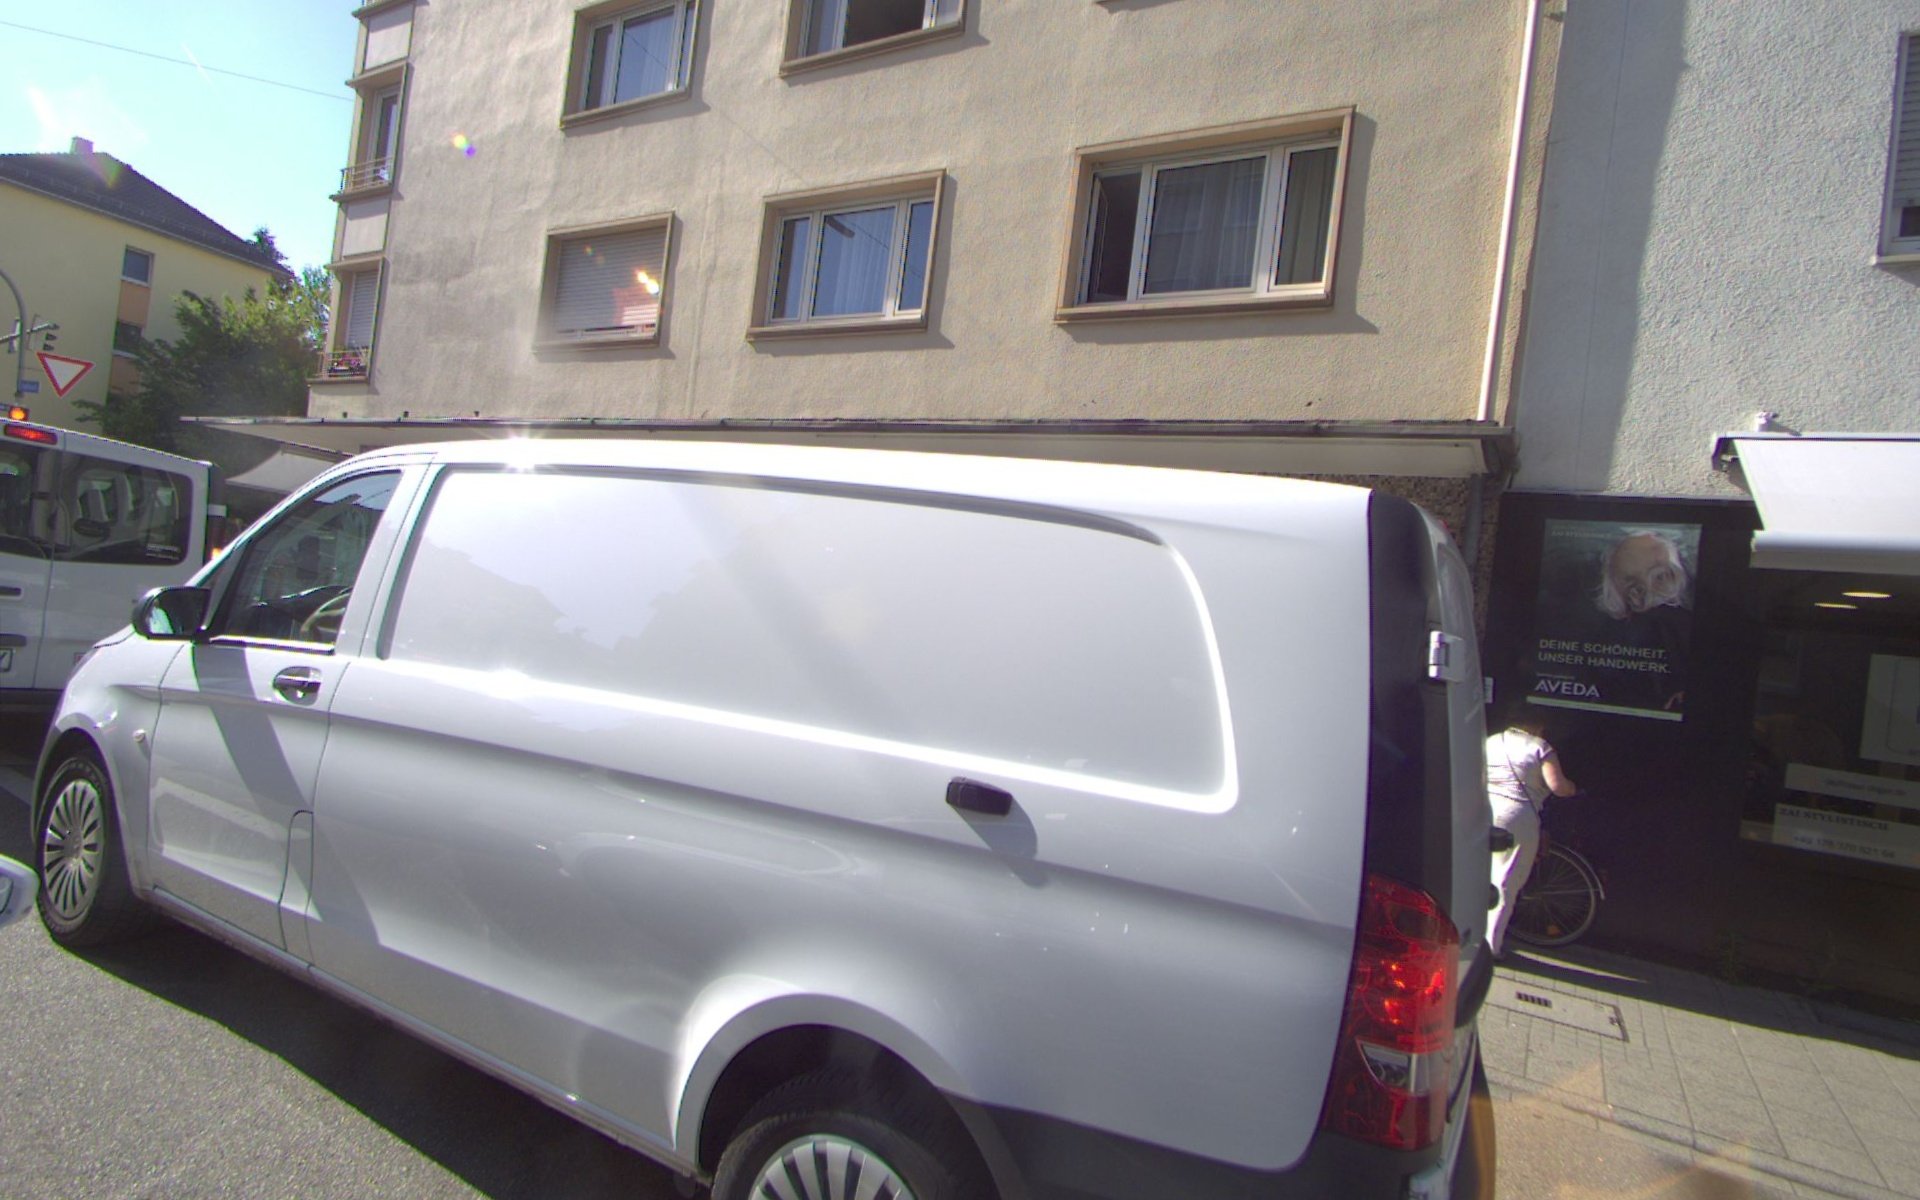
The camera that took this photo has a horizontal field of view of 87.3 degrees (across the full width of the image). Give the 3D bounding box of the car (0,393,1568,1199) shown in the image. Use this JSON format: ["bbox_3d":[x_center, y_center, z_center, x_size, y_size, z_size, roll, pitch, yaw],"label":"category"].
[{"bbox_3d":[-1.008,0.502,3.320,4.911,1.891,1.840,7,-1,30],"label":"car"}]

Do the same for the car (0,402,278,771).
[{"bbox_3d":[-7.139,-0.267,6.969,4.814,2.001,1.999,7,-3,32],"label":"car"}]
